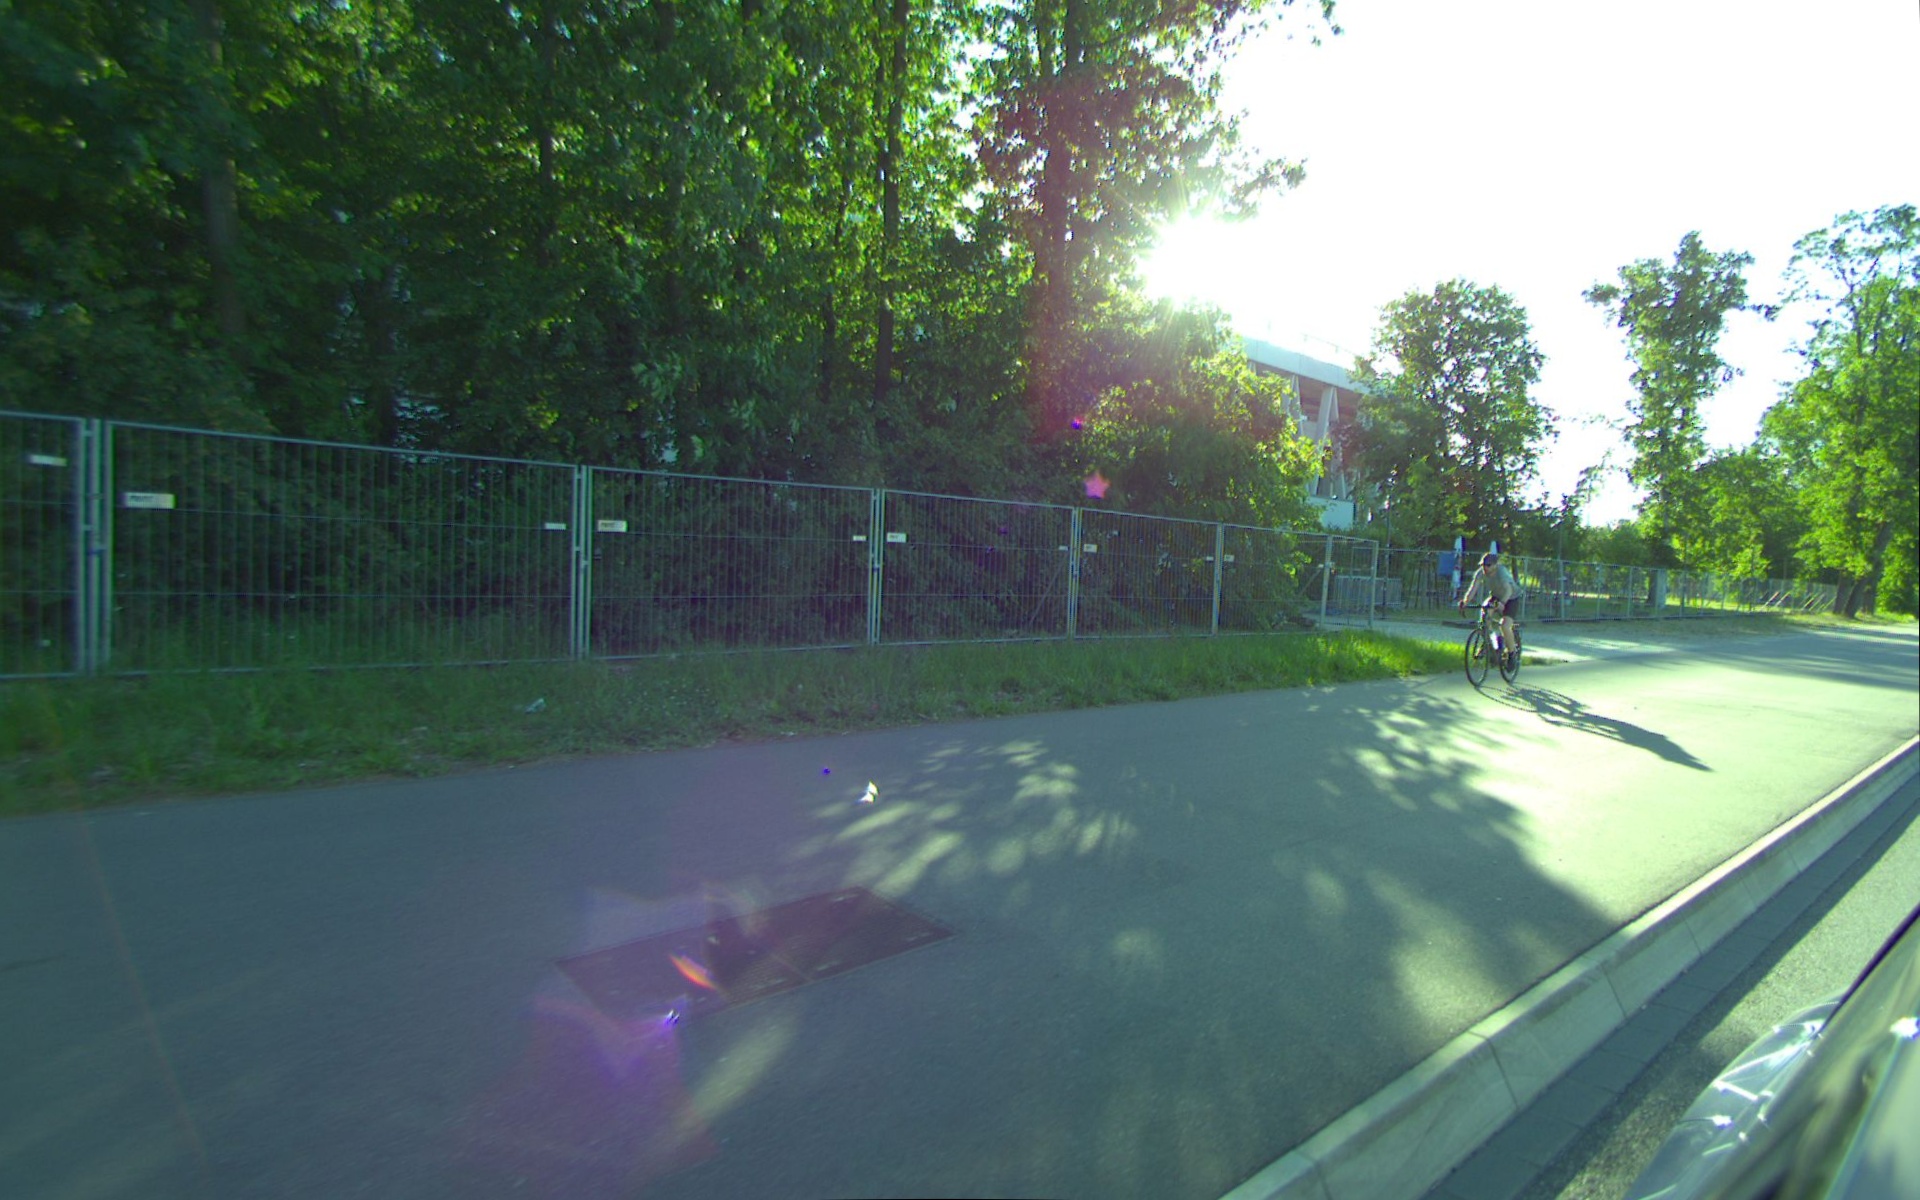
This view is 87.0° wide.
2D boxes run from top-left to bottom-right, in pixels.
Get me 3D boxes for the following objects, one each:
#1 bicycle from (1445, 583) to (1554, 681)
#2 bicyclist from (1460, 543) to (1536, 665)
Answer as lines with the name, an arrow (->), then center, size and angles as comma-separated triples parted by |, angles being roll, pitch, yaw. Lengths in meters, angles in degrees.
bicycle -> 6.936, 0.382, 12.972 | 1.831, 1.151, 0.555 | 0, 4, -41
bicyclist -> 6.853, 0.042, 12.879 | 0.846, 1.487, 0.521 | 0, 3, -41
